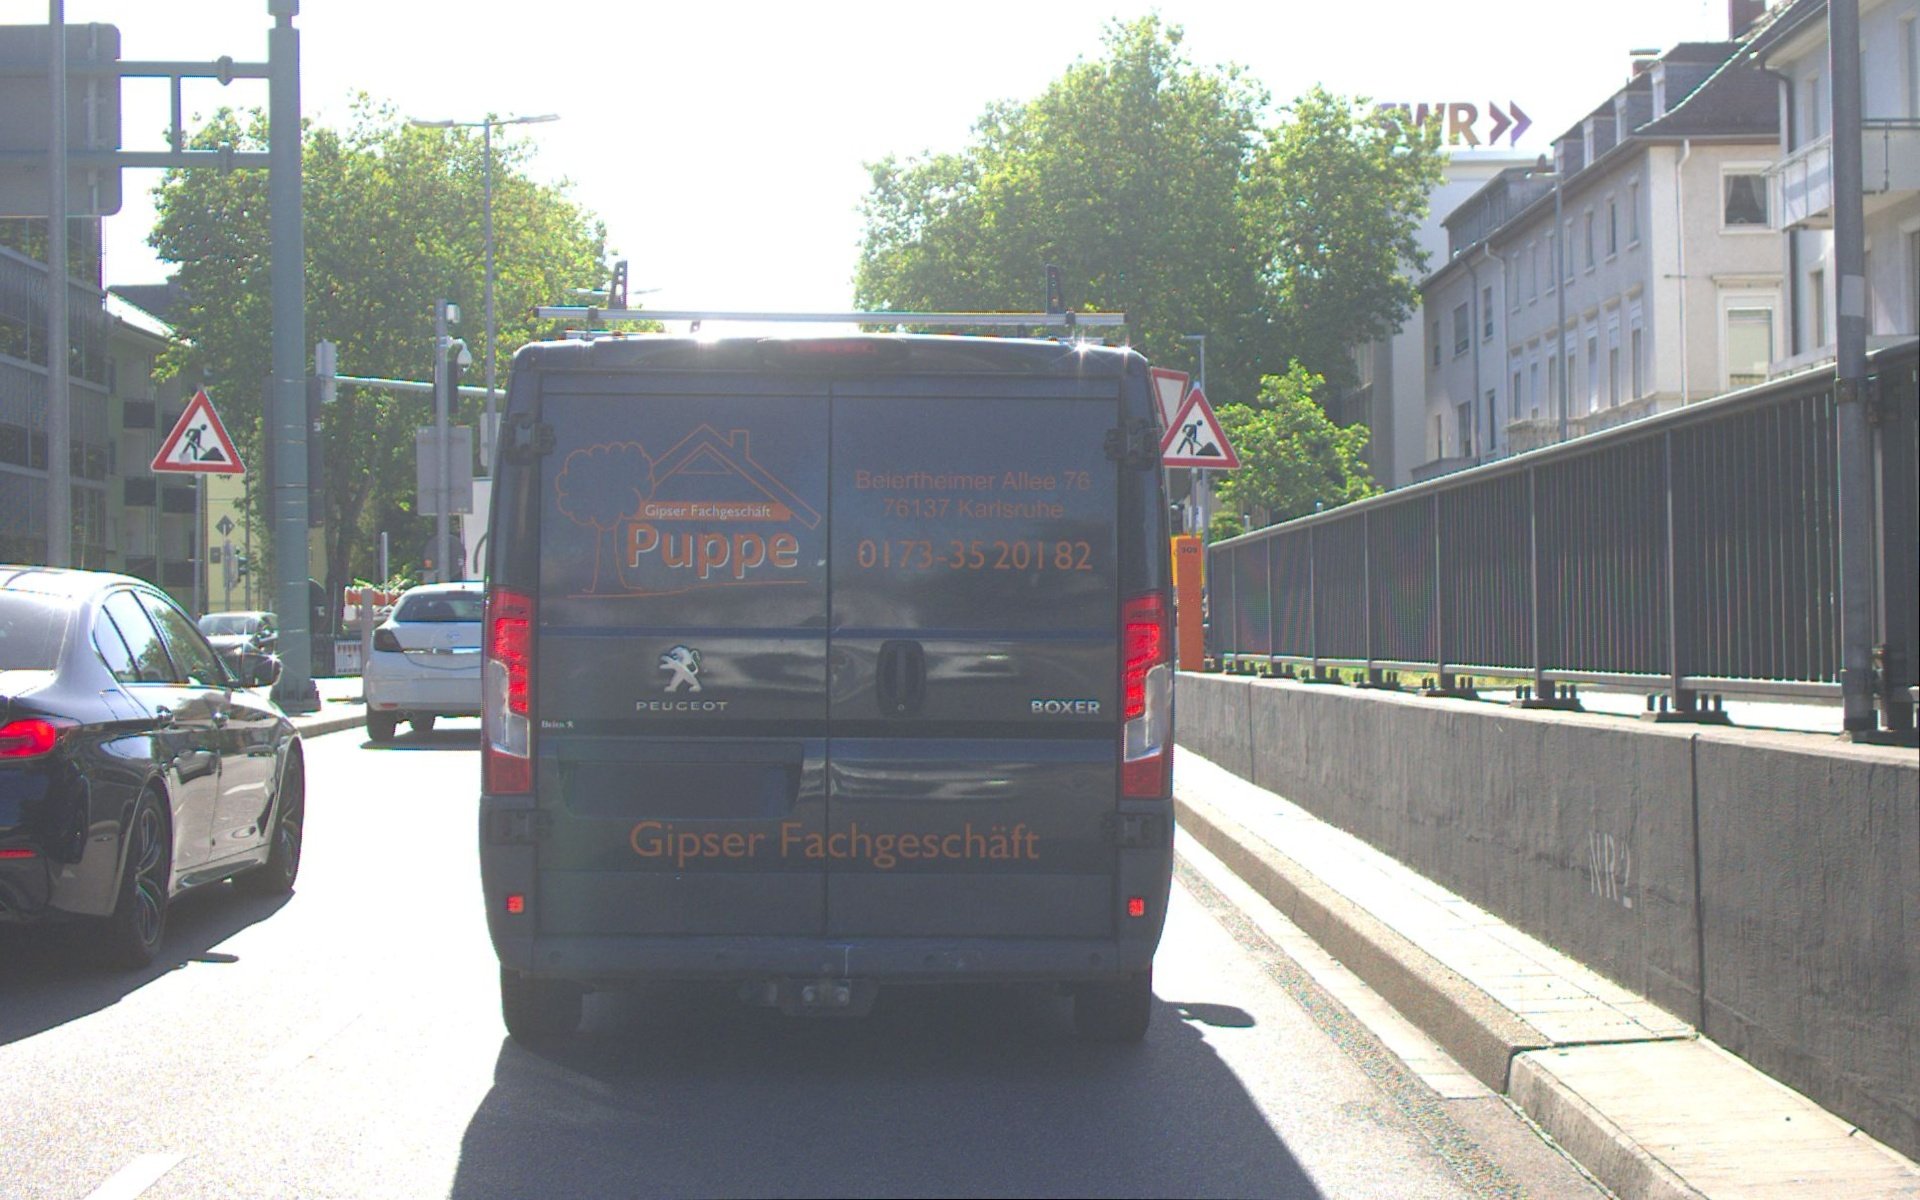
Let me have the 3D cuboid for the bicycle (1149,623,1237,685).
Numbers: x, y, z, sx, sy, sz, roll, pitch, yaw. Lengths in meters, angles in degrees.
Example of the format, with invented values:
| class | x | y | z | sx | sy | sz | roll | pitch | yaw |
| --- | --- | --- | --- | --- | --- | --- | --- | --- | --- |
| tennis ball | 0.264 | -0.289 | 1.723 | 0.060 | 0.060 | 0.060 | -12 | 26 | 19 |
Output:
| class | x | y | z | sx | sy | sz | roll | pitch | yaw |
| --- | --- | --- | --- | --- | --- | --- | --- | --- | --- |
| bicycle | 4.344 | 1.010 | 64.135 | 1.566 | 1.114 | 0.570 | 1 | 0 | -1 |

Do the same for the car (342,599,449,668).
| class | x | y | z | sx | sy | sz | roll | pitch | yaw |
| --- | --- | --- | --- | --- | --- | --- | --- | --- | --- |
| car | -13.436 | 0.776 | 82.067 | 1.936 | 1.550 | 3.923 | 1 | 0 | -1 |

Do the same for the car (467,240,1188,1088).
| class | x | y | z | sx | sy | sz | roll | pitch | yaw |
| --- | --- | --- | --- | --- | --- | --- | --- | --- | --- |
| car | -0.414 | 0.178 | 11.715 | 2.030 | 2.394 | 3.973 | 0 | 0 | -1 |

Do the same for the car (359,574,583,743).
| class | x | y | z | sx | sy | sz | roll | pitch | yaw |
| --- | --- | --- | --- | --- | --- | --- | --- | --- | --- |
| car | -4.505 | 0.498 | 32.126 | 1.619 | 1.398 | 3.852 | 1 | 1 | -1 |

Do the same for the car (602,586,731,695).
| class | x | y | z | sx | sy | sz | roll | pitch | yaw |
| --- | --- | --- | --- | --- | --- | --- | --- | --- | --- |
| car | -4.287 | 0.569 | 50.562 | 1.689 | 1.478 | 3.319 | 1 | 1 | -2 |

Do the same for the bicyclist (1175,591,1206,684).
| class | x | y | z | sx | sy | sz | roll | pitch | yaw |
| --- | --- | --- | --- | --- | --- | --- | --- | --- | --- |
| bicyclist | 4.299 | 0.696 | 64.134 | 0.509 | 1.729 | 0.597 | 1 | 0 | -1 |

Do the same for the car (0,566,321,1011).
| class | x | y | z | sx | sy | sz | roll | pitch | yaw |
| --- | --- | --- | --- | --- | --- | --- | --- | --- | --- |
| car | -3.860 | 0.592 | 13.758 | 1.808 | 1.434 | 5.003 | 1 | 1 | -2 |

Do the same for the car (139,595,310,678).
| class | x | y | z | sx | sy | sz | roll | pitch | yaw |
| --- | --- | --- | --- | --- | --- | --- | --- | --- | --- |
| car | -14.486 | 0.700 | 67.919 | 1.937 | 1.550 | 3.921 | 1 | 0 | 10 |
